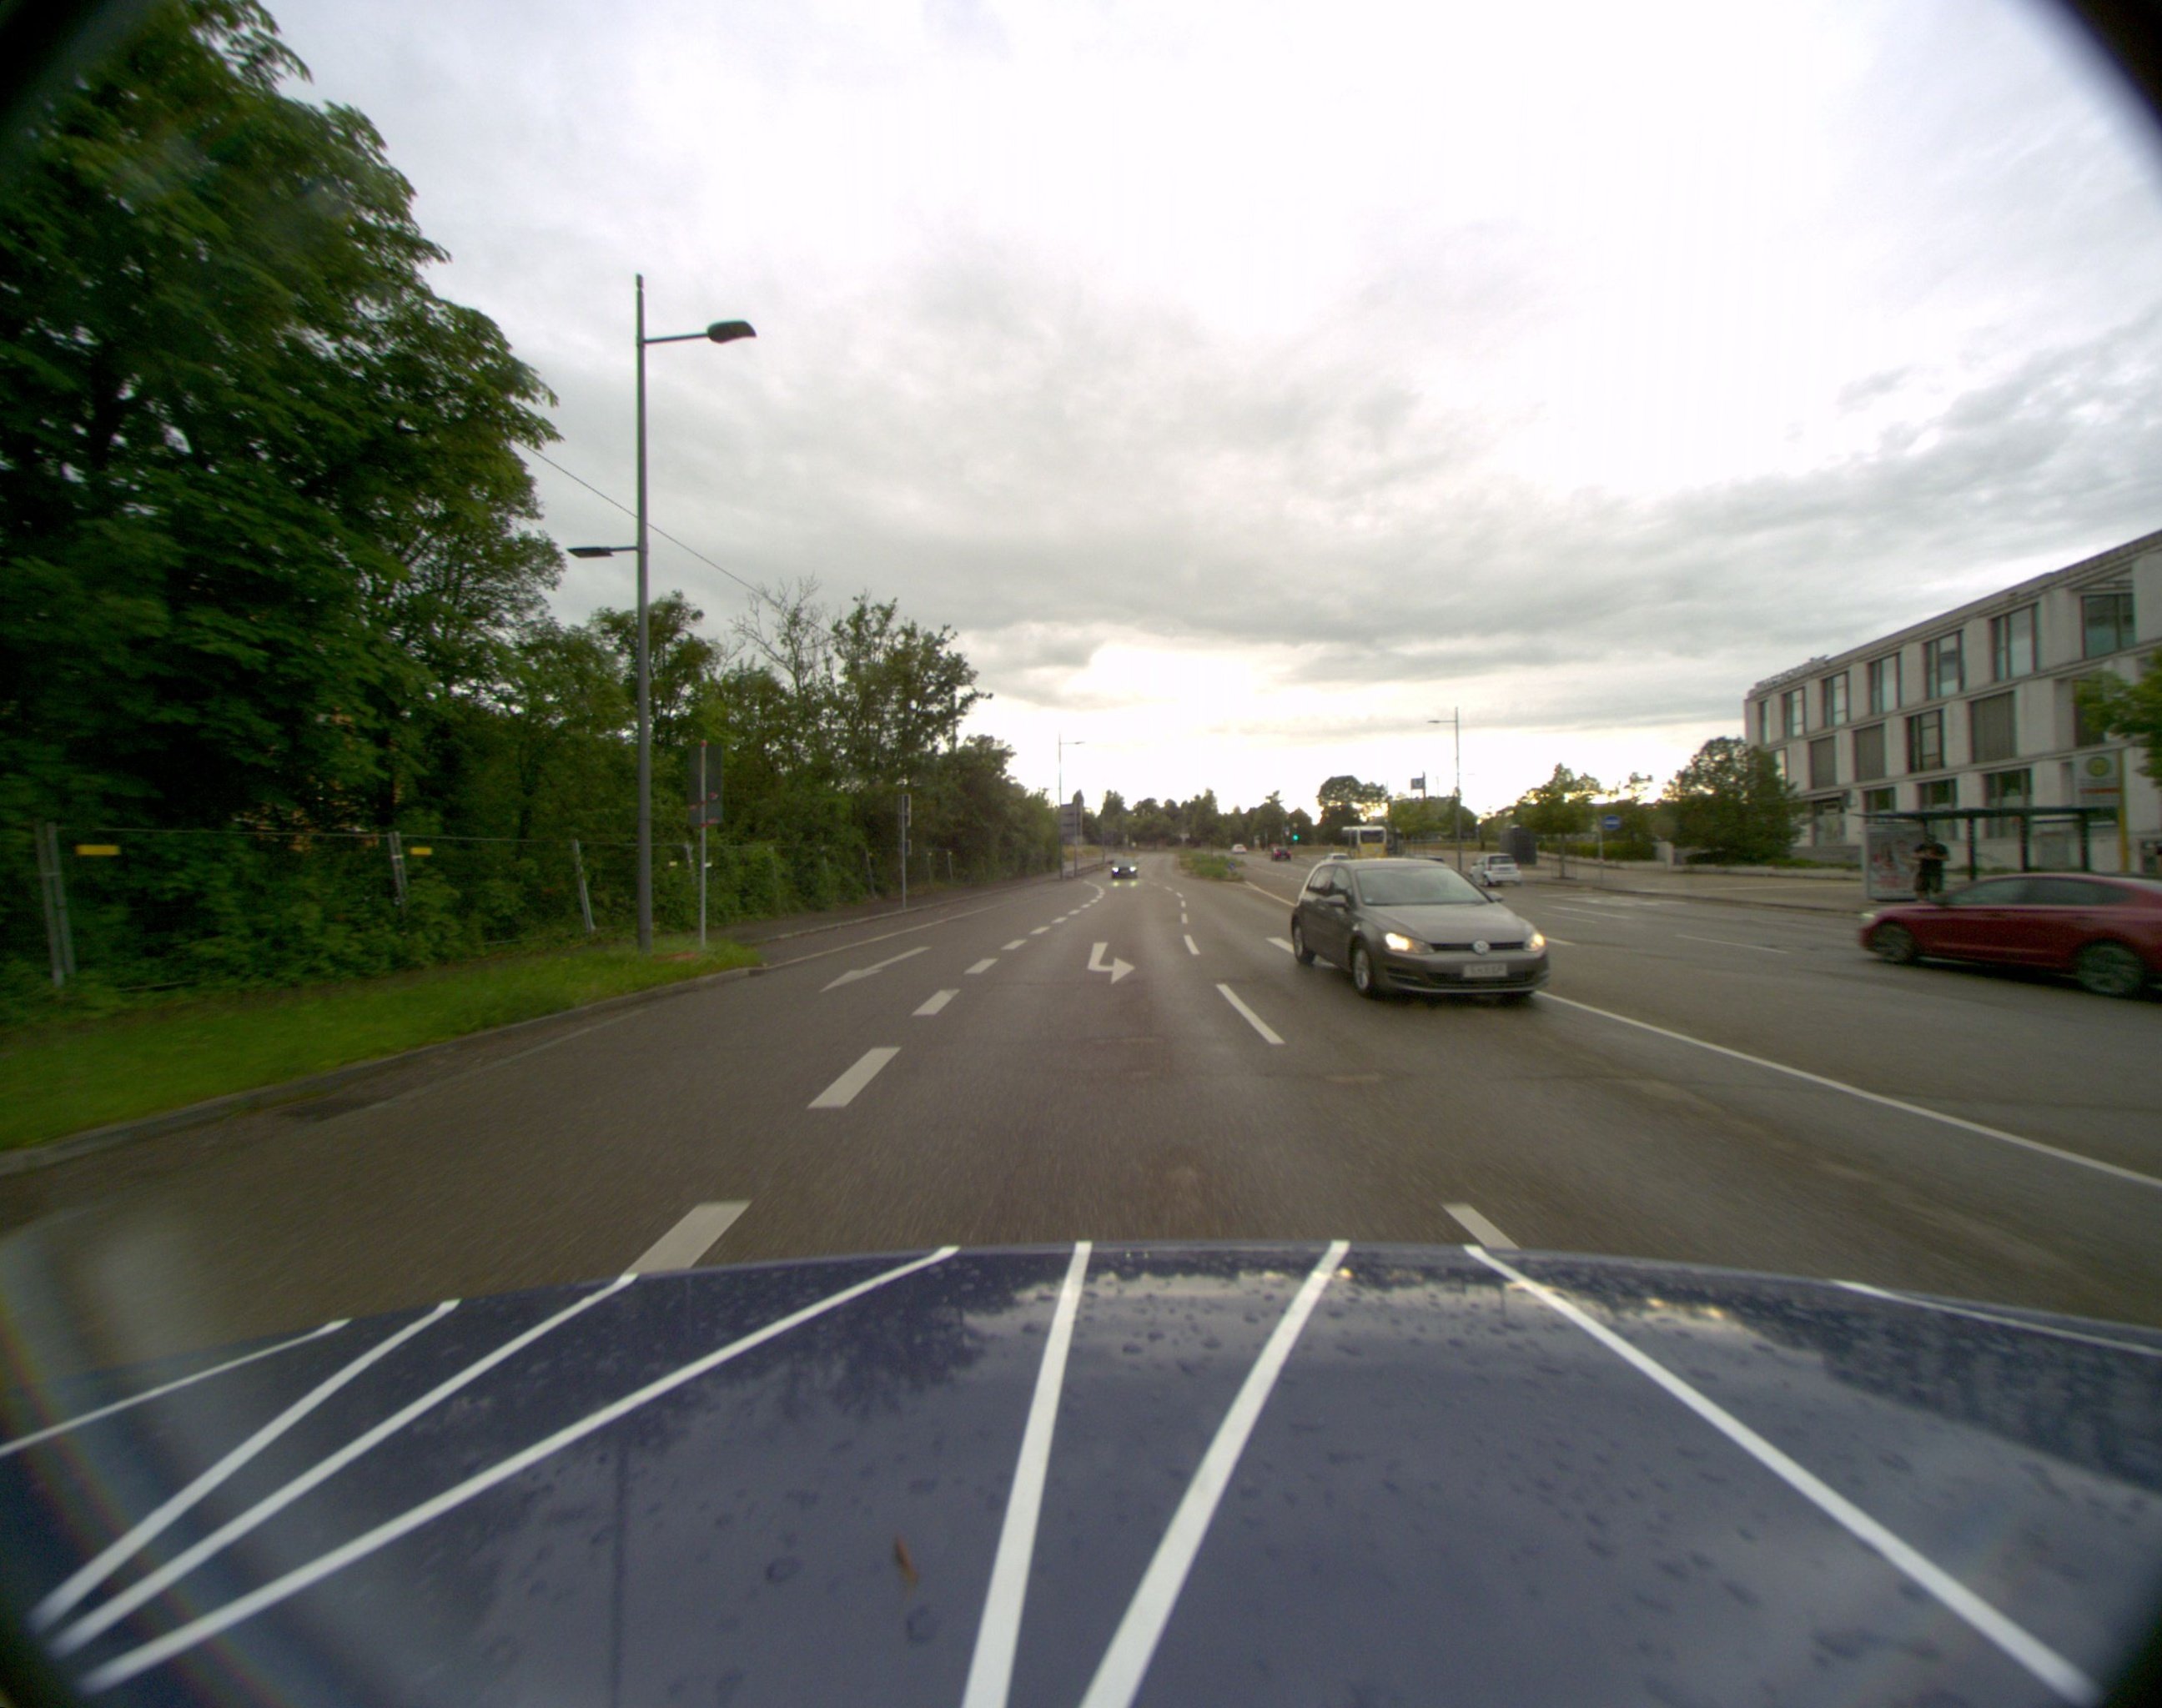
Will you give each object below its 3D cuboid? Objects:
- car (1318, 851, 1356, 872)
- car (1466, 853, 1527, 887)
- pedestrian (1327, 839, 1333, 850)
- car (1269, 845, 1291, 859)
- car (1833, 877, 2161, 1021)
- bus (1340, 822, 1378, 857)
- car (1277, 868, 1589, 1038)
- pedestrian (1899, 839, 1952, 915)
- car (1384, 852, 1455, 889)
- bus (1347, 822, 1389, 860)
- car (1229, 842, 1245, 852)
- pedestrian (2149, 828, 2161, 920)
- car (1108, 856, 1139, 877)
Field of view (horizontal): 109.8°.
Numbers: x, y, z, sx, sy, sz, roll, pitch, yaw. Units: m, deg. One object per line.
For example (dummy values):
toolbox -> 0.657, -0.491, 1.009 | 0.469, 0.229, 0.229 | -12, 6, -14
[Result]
car -> 19.190, 0.509, 57.051 | 1.876, 1.422, 4.177 | 1, 1, 7
car -> 20.379, 0.759, 37.399 | 1.617, 1.499, 2.973 | -2, 1, 7
pedestrian -> 36.496, -1.408, 111.339 | 0.615, 1.584, 0.813 | -2, -1, 3
car -> 21.975, -0.239, 84.146 | 1.850, 1.454, 3.868 | 0, 1, 7
car -> 12.604, 1.091, 9.741 | 1.835, 1.408, 4.468 | 1, 0, 7
bus -> 30.258, -1.701, 83.177 | 2.825, 3.453, 9.981 | -2, 2, 15
car -> 3.726, 0.931, 8.976 | 1.810, 1.421, 4.197 | 1, 0, 2
pedestrian -> 20.886, 0.553, 18.802 | 0.508, 1.831, 0.756 | -1, 1, 6
car -> 16.338, 0.764, 36.924 | 1.835, 1.563, 4.595 | 1, 1, 7
bus -> 27.976, -1.356, 74.323 | 2.825, 3.453, 8.237 | -2, 2, 15
car -> 24.671, -1.108, 120.193 | 1.997, 1.410, 4.514 | -1, 1, 7
pedestrian -> 22.131, 0.402, 15.228 | 0.581, 1.845, 0.607 | -1, 1, 5
car -> 2.955, 0.866, 53.192 | 1.989, 1.391, 4.177 | -1, -1, 3
